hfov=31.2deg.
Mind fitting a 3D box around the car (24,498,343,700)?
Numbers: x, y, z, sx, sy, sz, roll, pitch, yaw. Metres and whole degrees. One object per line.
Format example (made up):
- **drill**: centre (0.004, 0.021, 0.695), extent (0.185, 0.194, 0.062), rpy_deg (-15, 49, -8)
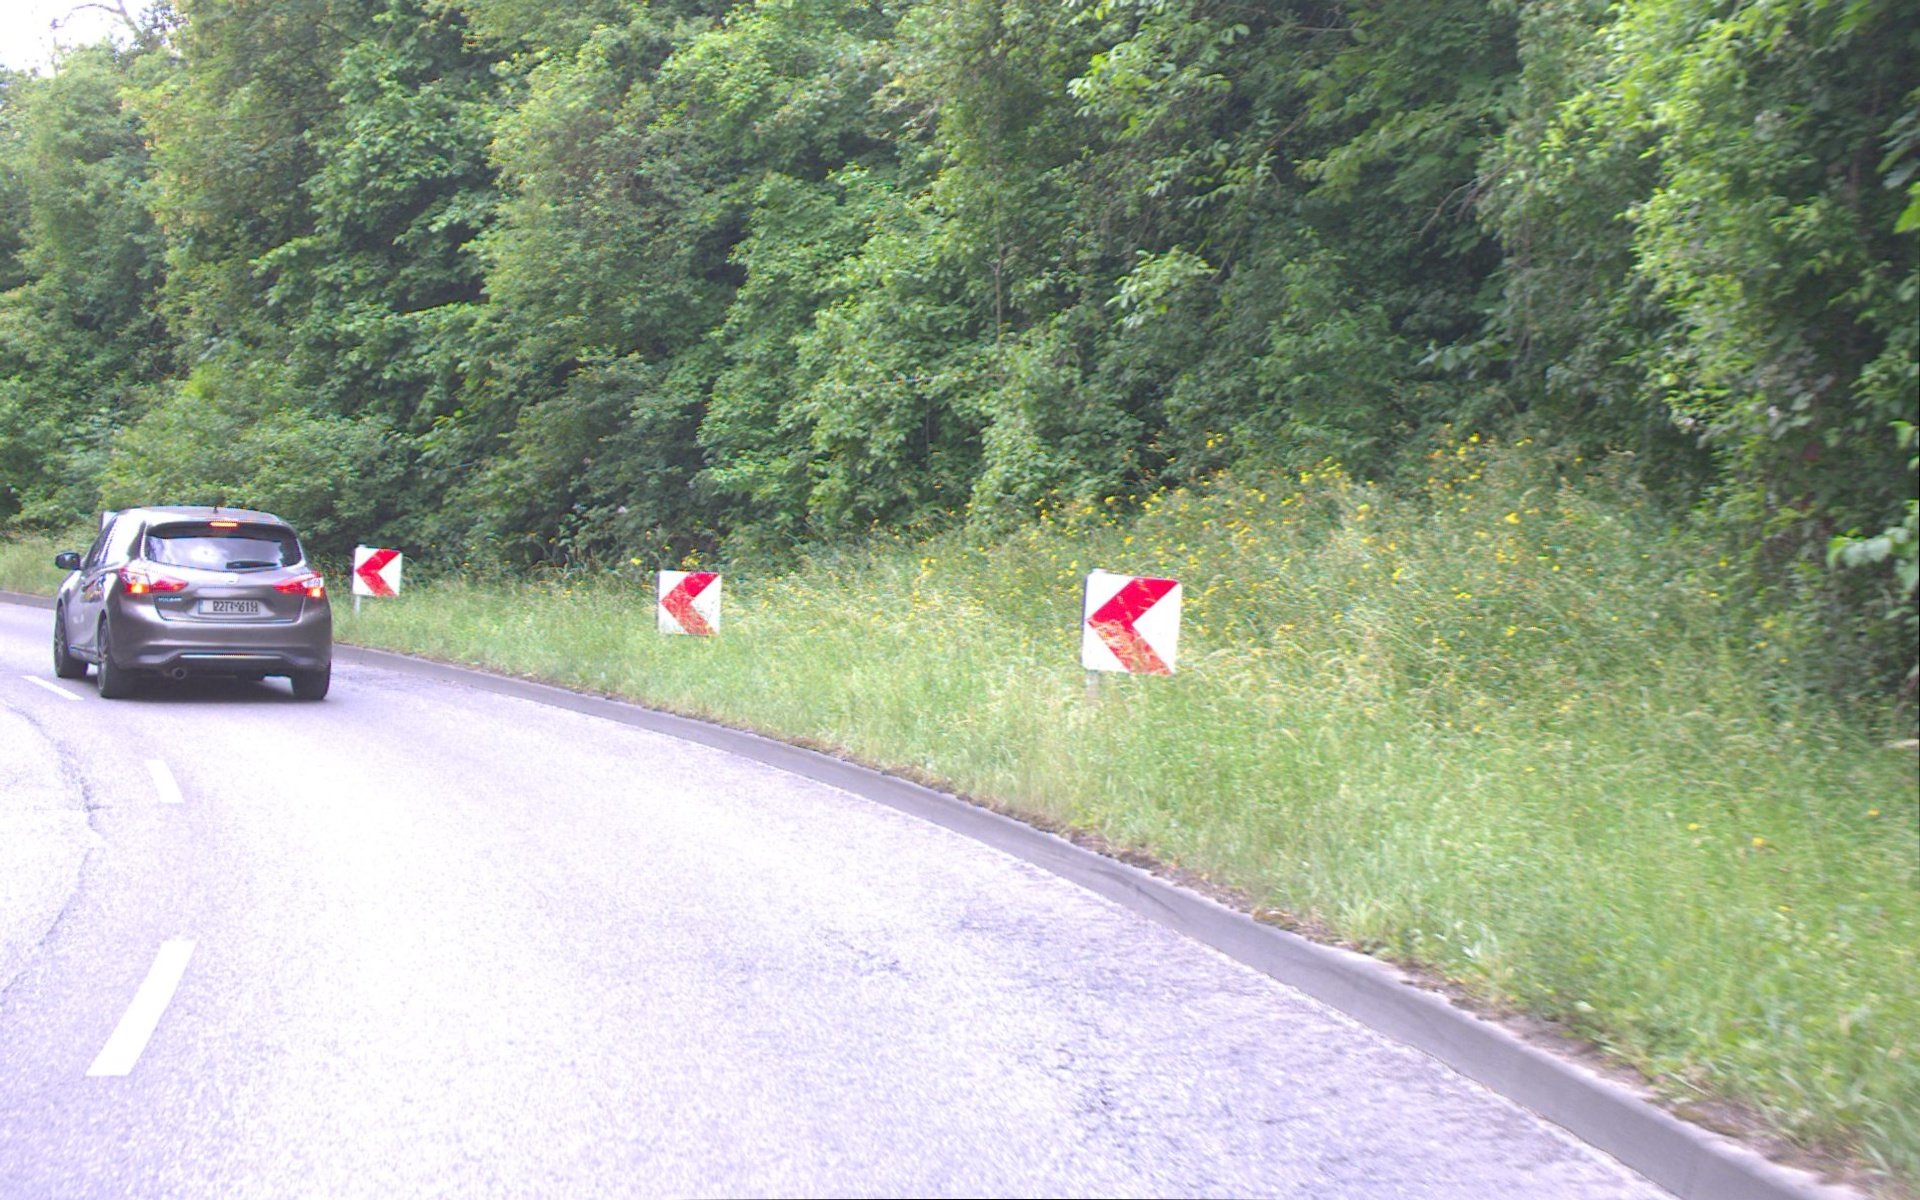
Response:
- **car**: centre (-6.462, -0.052, 28.313), extent (1.839, 1.478, 4.001), rpy_deg (1, 2, -23)
